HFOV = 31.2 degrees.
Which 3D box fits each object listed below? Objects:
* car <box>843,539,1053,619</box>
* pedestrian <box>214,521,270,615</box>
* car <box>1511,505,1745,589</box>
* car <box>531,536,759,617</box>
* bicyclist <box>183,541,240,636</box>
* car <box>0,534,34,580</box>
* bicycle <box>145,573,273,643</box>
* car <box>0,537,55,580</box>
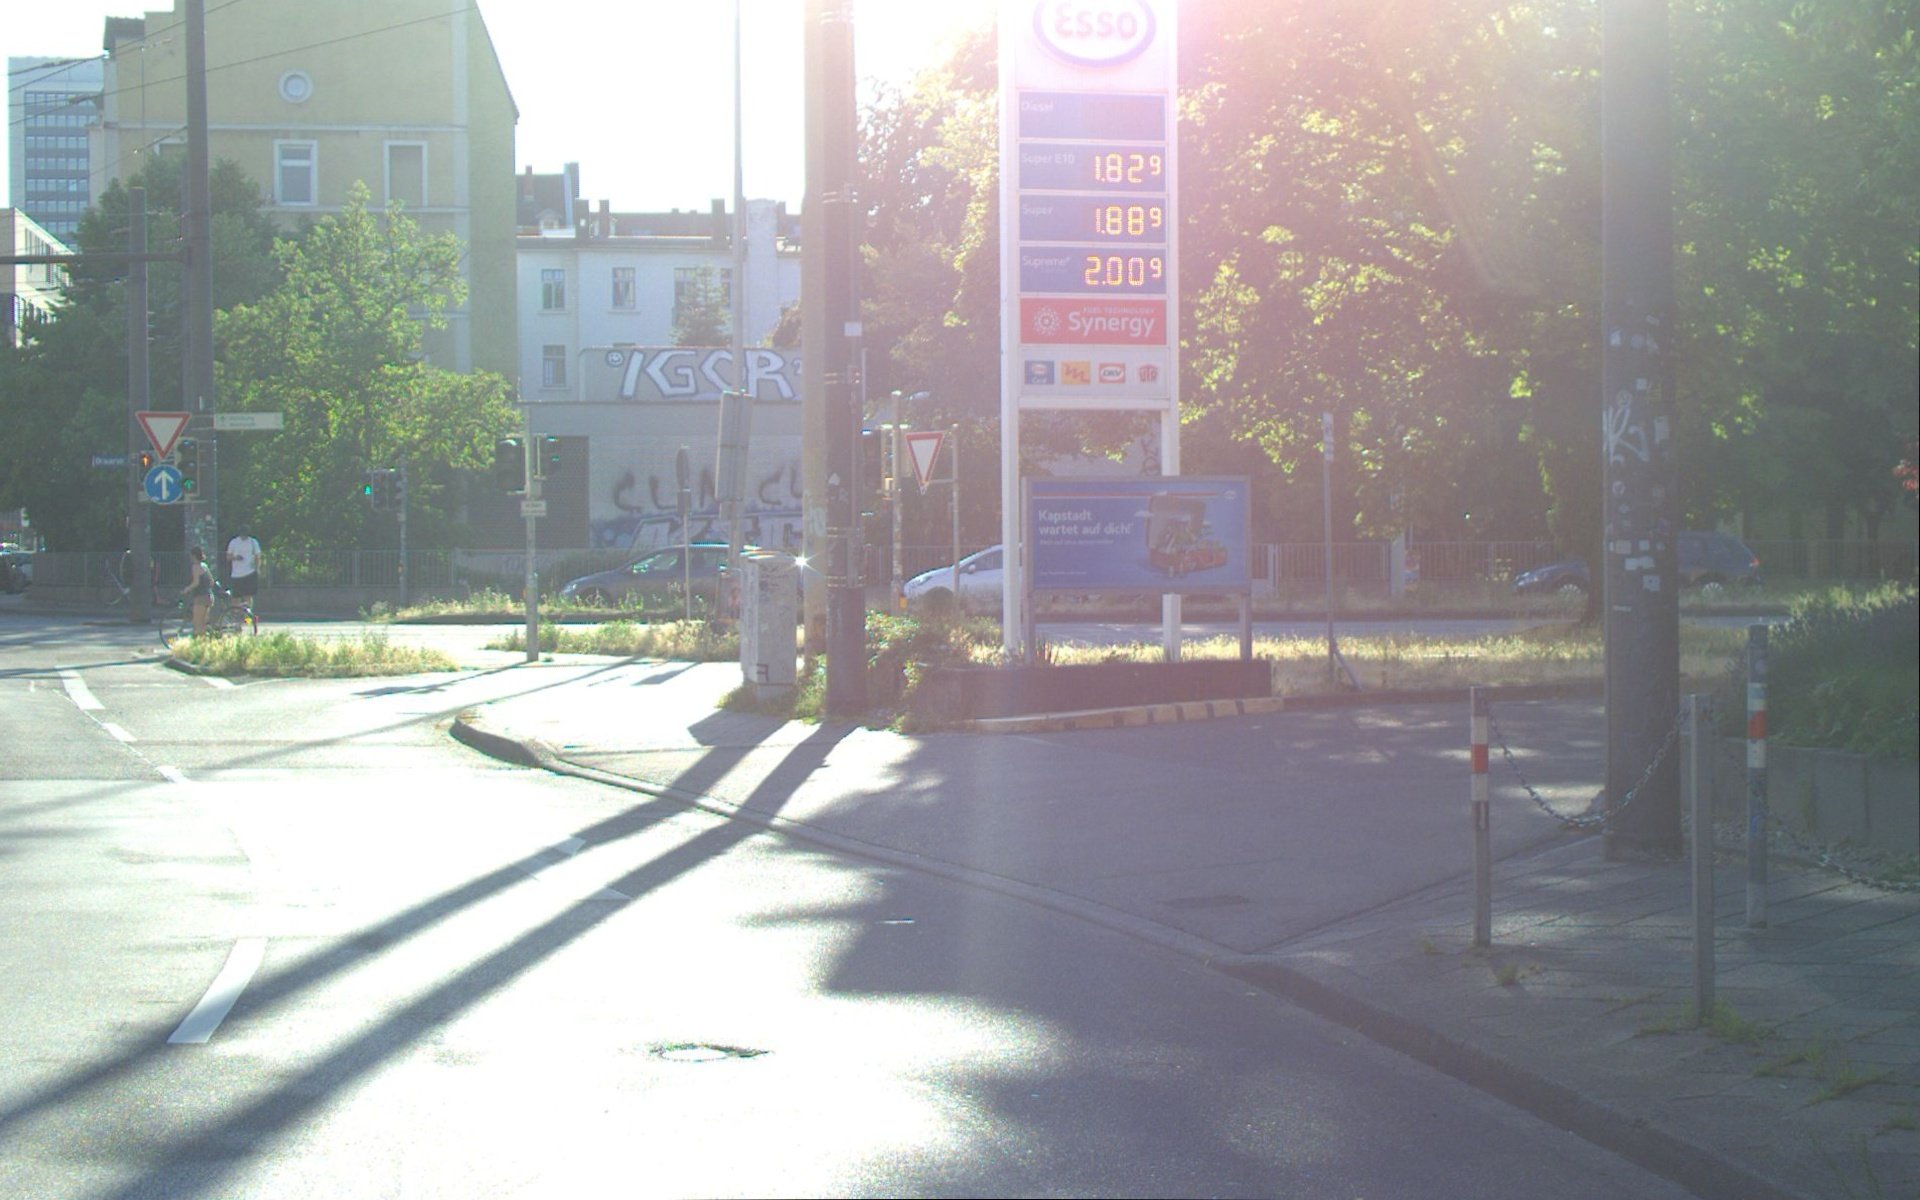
[{"bbox_3d":[-0.217,-0.423,68.013,3.987,1.502,1.672,-1,1,5],"label":"car"},{"bbox_3d":[-13.043,-0.588,62.459,0.926,1.686,0.778,-1,1,-9],"label":"pedestrian"},{"bbox_3d":[12.251,-0.974,63.209,3.987,1.448,1.687,-1,1,3],"label":"car"},{"bbox_3d":[-5.922,-0.449,64.903,3.988,1.448,1.809,-1,1,6],"label":"car"},{"bbox_3d":[-11.236,-0.174,51.612,0.803,1.409,0.624,-1,0,-12],"label":"bicyclist"},{"bbox_3d":[-31.514,-1.409,112.436,1.993,1.459,4.001,-1,1,-10],"label":"car"},{"bbox_3d":[-11.270,0.115,51.612,1.832,0.981,0.734,-1,1,-12],"label":"bicycle"},{"bbox_3d":[-33.553,-1.471,122.791,1.993,1.481,4.001,-1,1,-10],"label":"car"}]
